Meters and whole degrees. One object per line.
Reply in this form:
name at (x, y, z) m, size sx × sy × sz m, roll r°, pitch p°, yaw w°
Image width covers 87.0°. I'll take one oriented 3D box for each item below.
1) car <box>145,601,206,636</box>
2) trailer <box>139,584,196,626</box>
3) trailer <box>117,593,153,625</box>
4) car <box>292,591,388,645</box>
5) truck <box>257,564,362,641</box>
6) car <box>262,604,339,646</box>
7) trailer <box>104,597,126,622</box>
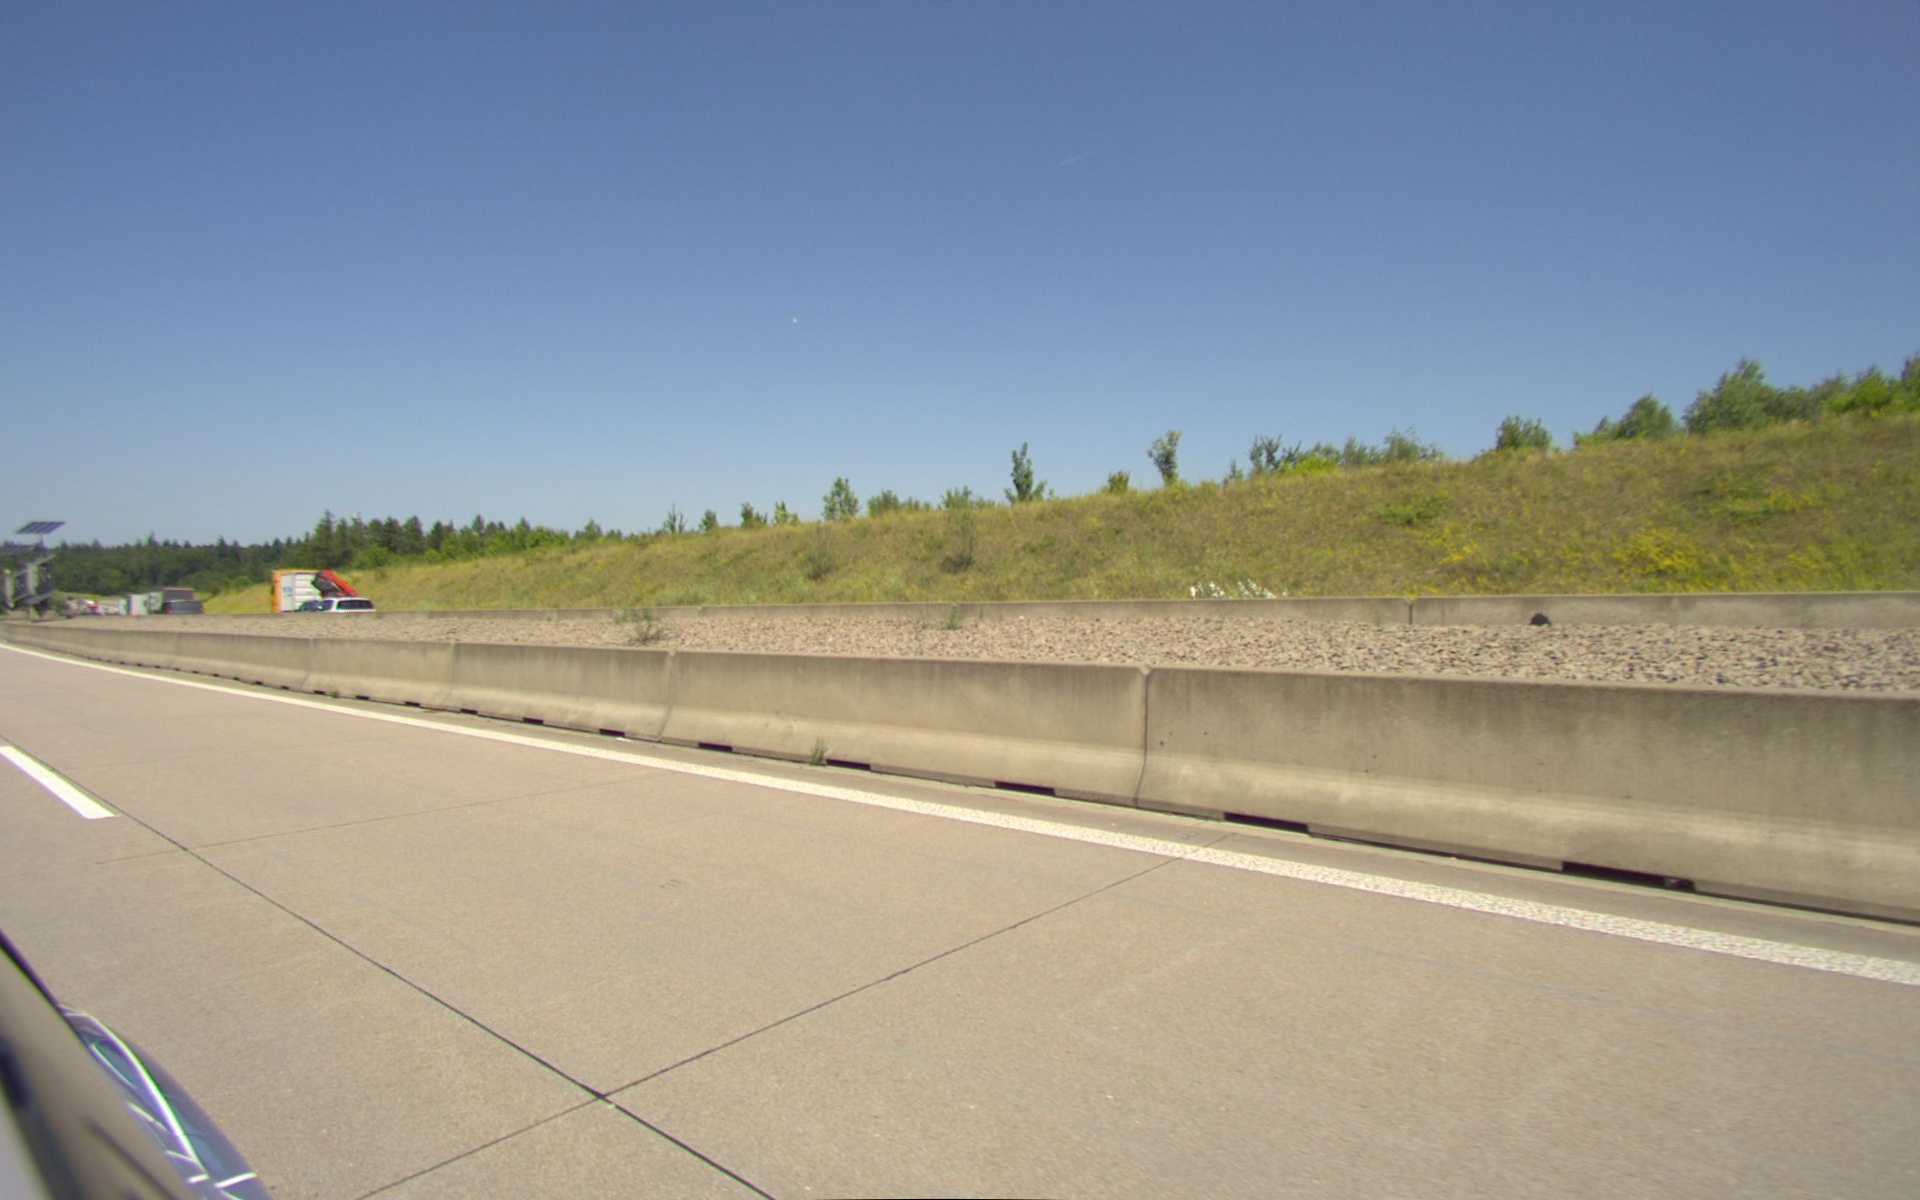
car at (-46.639, 1.102, 60.129) m, size 4.457 × 2.029 × 1.973 m, roll -1°, pitch -1°, yaw 40°
trailer at (-84.760, 0.523, 108.100) m, size 13.194 × 4.200 × 2.901 m, roll -1°, pitch 1°, yaw 44°
trailer at (-113.413, 1.248, 139.055) m, size 2.898 × 4.200 × 14.404 m, roll -2°, pitch 1°, yaw -42°
car at (-24.683, 0.733, 40.227) m, size 4.457 × 2.029 × 1.973 m, roll -1°, pitch -1°, yaw 40°
truck at (-42.087, 0.242, 65.260) m, size 11.255 × 4.547 × 2.883 m, roll -1°, pitch -1°, yaw 42°
car at (-33.879, 1.259, 51.914) m, size 4.804 × 2.029 × 2.258 m, roll -1°, pitch -1°, yaw 44°
trailer at (-152.966, 1.741, 183.192) m, size 2.897 × 4.200 × 14.412 m, roll -2°, pitch 1°, yaw -40°
